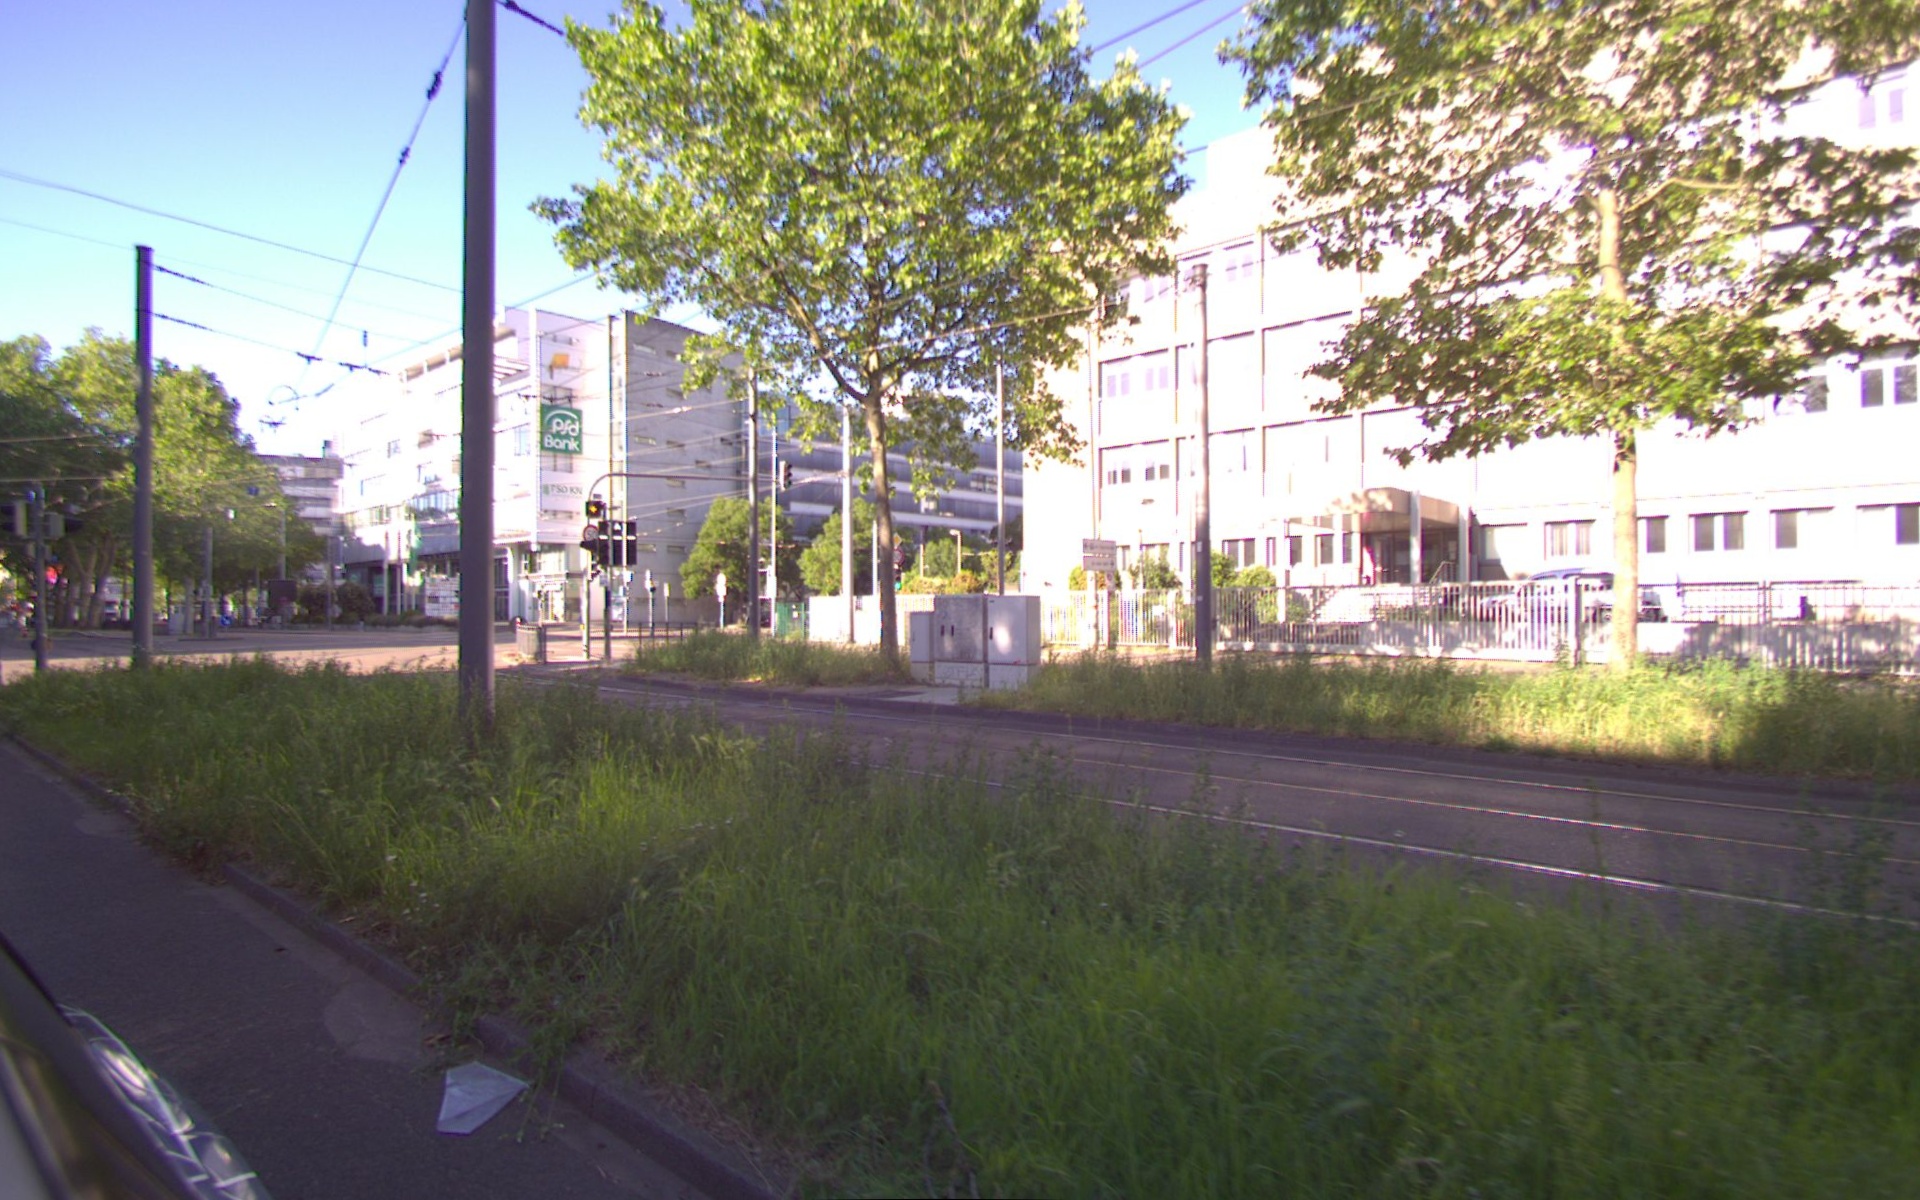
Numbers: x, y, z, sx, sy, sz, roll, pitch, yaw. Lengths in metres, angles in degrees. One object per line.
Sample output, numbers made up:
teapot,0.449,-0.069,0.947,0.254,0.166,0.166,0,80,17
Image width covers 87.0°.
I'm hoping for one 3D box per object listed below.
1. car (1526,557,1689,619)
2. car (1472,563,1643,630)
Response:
car,19.847,-0.332,31.096,3.999,1.765,1.828,-1,0,42
car,17.302,-0.085,29.390,3.999,1.831,1.828,-1,0,42
